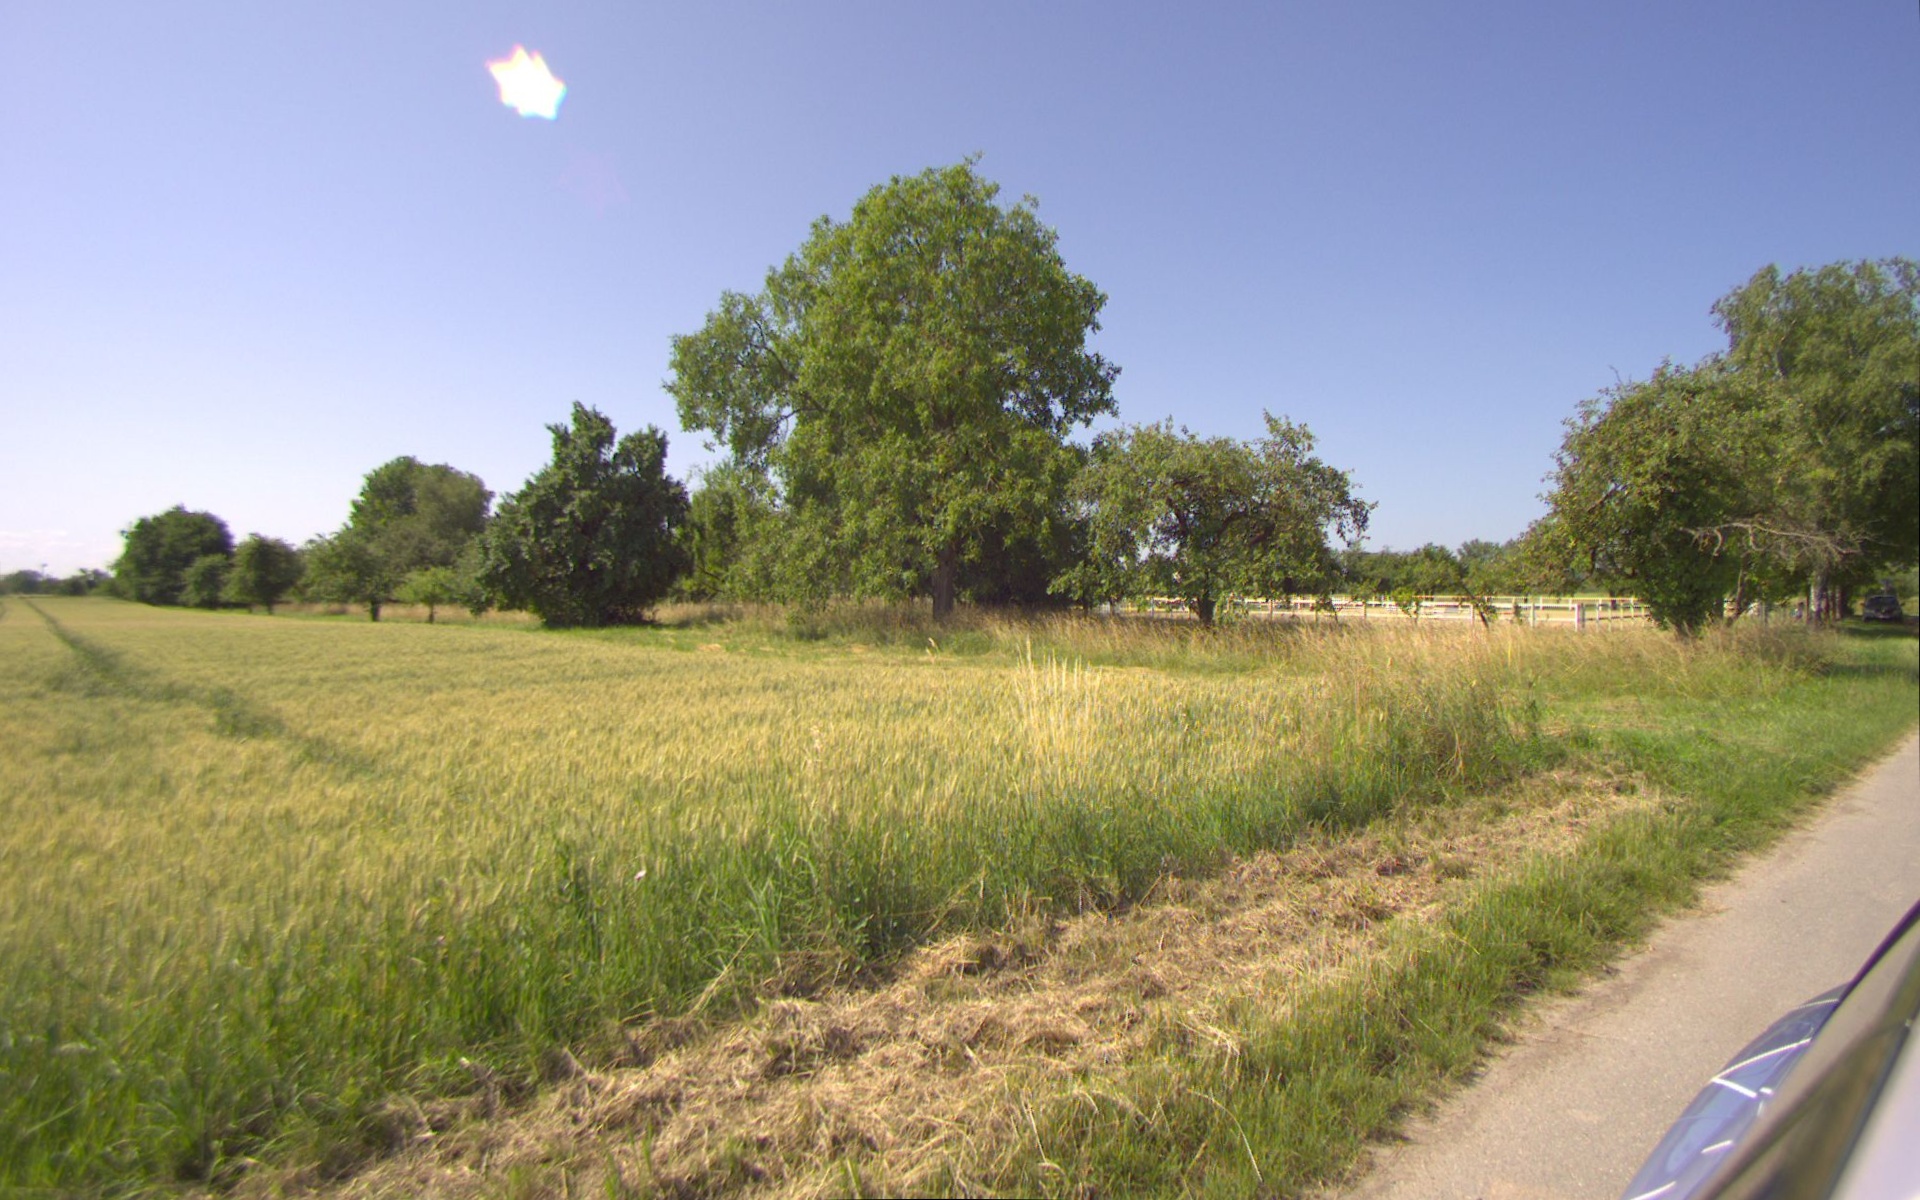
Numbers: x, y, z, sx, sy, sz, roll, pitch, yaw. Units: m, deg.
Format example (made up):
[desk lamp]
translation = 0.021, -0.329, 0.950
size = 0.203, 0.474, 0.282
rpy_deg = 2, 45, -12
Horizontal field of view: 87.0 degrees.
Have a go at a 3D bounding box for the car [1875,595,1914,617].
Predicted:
[car]
translation = 58.553, 0.334, 63.477
size = 1.716, 1.337, 3.686
rpy_deg = 0, 0, 42
